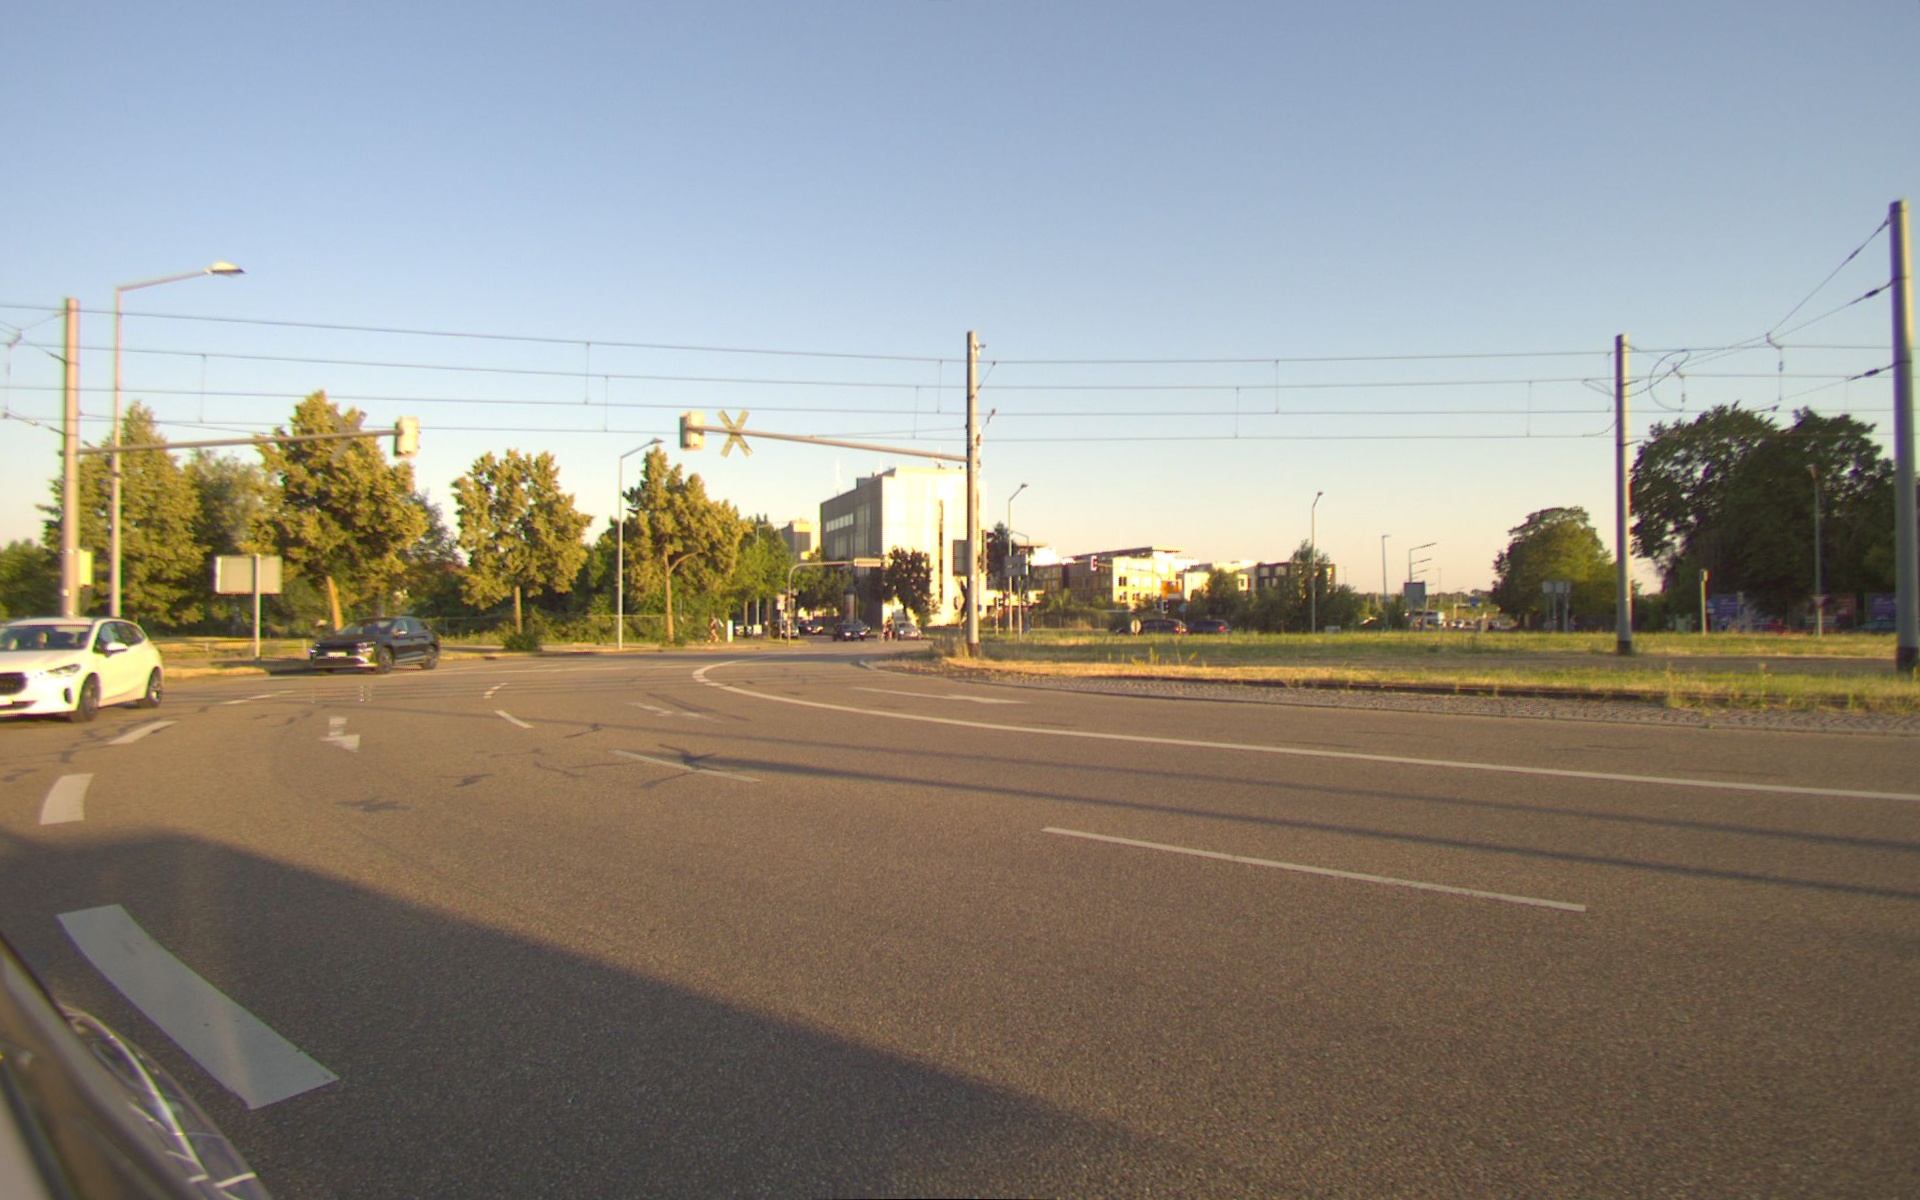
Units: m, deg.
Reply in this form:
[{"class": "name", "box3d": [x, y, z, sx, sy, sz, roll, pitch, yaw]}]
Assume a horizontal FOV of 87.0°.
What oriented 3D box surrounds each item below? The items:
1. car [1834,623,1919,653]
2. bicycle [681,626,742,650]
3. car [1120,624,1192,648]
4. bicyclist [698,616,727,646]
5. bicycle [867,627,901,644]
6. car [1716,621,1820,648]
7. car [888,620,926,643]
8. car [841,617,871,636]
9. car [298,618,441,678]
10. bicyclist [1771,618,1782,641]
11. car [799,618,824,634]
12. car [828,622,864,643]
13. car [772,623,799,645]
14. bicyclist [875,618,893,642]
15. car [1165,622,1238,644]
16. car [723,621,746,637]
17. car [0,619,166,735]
[{"class": "car", "box3d": [47.107, 1.909, 51.149, 1.915, 1.443, 4.324, 0, -2, -4]}, {"class": "bicycle", "box3d": [-15.043, 2.288, 61.348, 3.481, 1.406, 1.126, 0, -1, -36]}, {"class": "car", "box3d": [12.646, 2.300, 65.361, 4.253, 1.512, 1.817, -1, -1, 41]}, {"class": "bicyclist", "box3d": [-15.002, 1.863, 61.358, 1.394, 1.762, 1.126, 0, -1, -36]}, {"class": "bicycle", "box3d": [-5.351, 2.487, 71.044, 2.290, 1.188, 0.813, 0, -1, -34]}, {"class": "car", "box3d": [46.498, 1.969, 58.373, 1.914, 1.443, 4.601, 0, -2, -6]}, {"class": "car", "box3d": [-4.072, 2.351, 77.046, 1.841, 1.637, 4.206, 0, -1, -18]}, {"class": "car", "box3d": [-9.297, 2.347, 90.354, 1.841, 1.637, 4.206, 0, -1, -18]}, {"class": "car", "box3d": [-16.904, 1.337, 29.234, 1.802, 1.570, 4.216, 0, -1, -2]}, {"class": "bicyclist", "box3d": [50.828, 1.813, 62.982, 0.447, 1.408, 0.468, -1, -2, 34]}, {"class": "car", "box3d": [-15.442, 2.700, 105.101, 1.841, 1.637, 4.206, 0, -1, -18]}, {"class": "car", "box3d": [-9.127, 2.566, 80.763, 1.841, 1.637, 4.206, 0, -1, -20]}, {"class": "car", "box3d": [-15.148, 2.947, 87.667, 1.841, 1.763, 3.864, 0, -1, -18]}, {"class": "bicyclist", "box3d": [-5.330, 2.091, 71.054, 0.984, 1.645, 0.813, 0, -1, -34]}, {"class": "car", "box3d": [16.208, 2.212, 68.131, 4.402, 1.443, 1.917, -2, -2, 43]}, {"class": "car", "box3d": [-24.737, 3.147, 110.851, 1.841, 1.637, 4.207, 0, -1, -22]}, {"class": "car", "box3d": [-13.994, 1.082, 15.533, 1.730, 1.570, 4.228, 0, -1, -22]}]
